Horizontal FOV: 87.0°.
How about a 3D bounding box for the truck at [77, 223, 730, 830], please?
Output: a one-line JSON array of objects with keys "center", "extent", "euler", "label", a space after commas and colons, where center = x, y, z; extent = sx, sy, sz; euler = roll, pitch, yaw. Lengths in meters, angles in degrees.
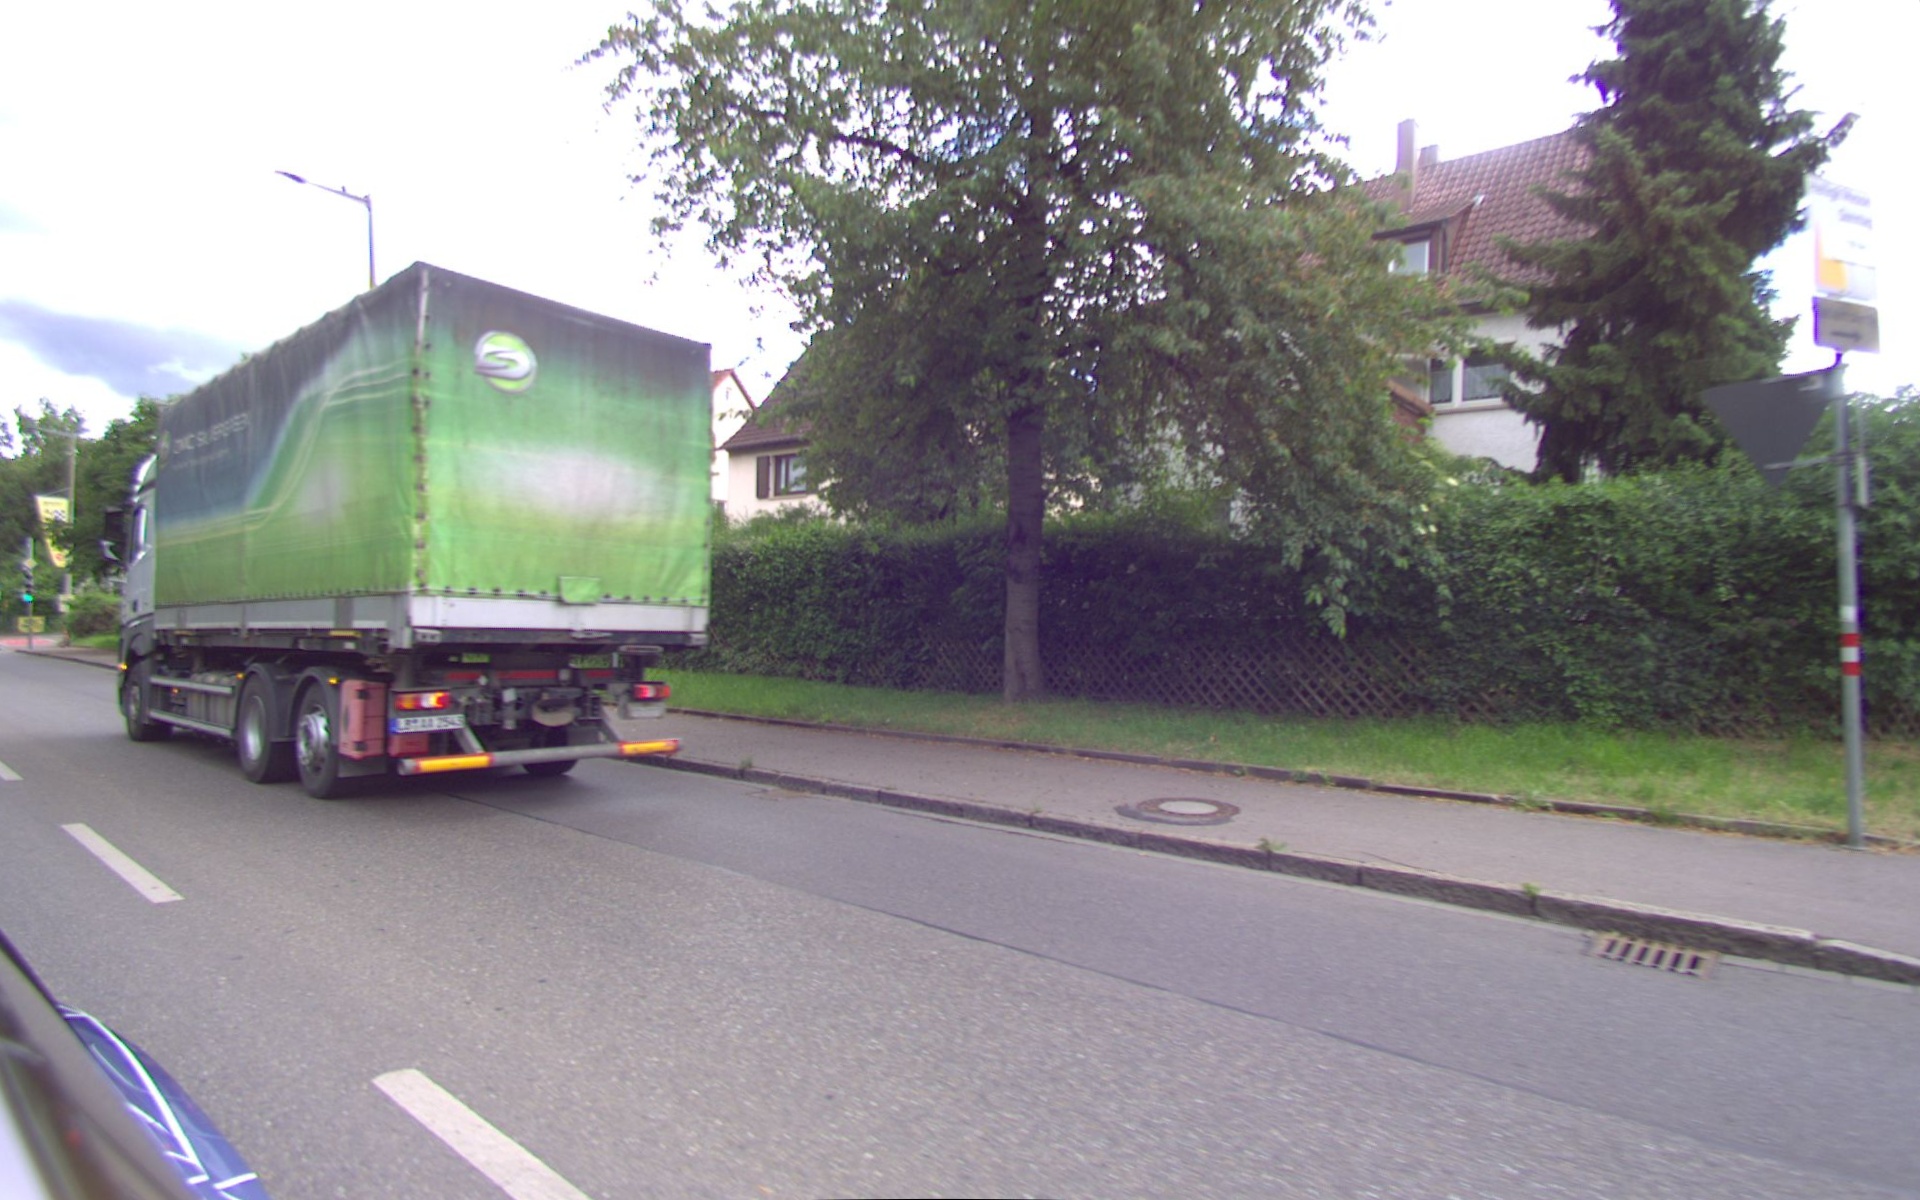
[{"center": [-6.911, -0.438, 11.174], "extent": [10.612, 4.074, 2.524], "euler": [0, -3, 40], "label": "truck"}]
